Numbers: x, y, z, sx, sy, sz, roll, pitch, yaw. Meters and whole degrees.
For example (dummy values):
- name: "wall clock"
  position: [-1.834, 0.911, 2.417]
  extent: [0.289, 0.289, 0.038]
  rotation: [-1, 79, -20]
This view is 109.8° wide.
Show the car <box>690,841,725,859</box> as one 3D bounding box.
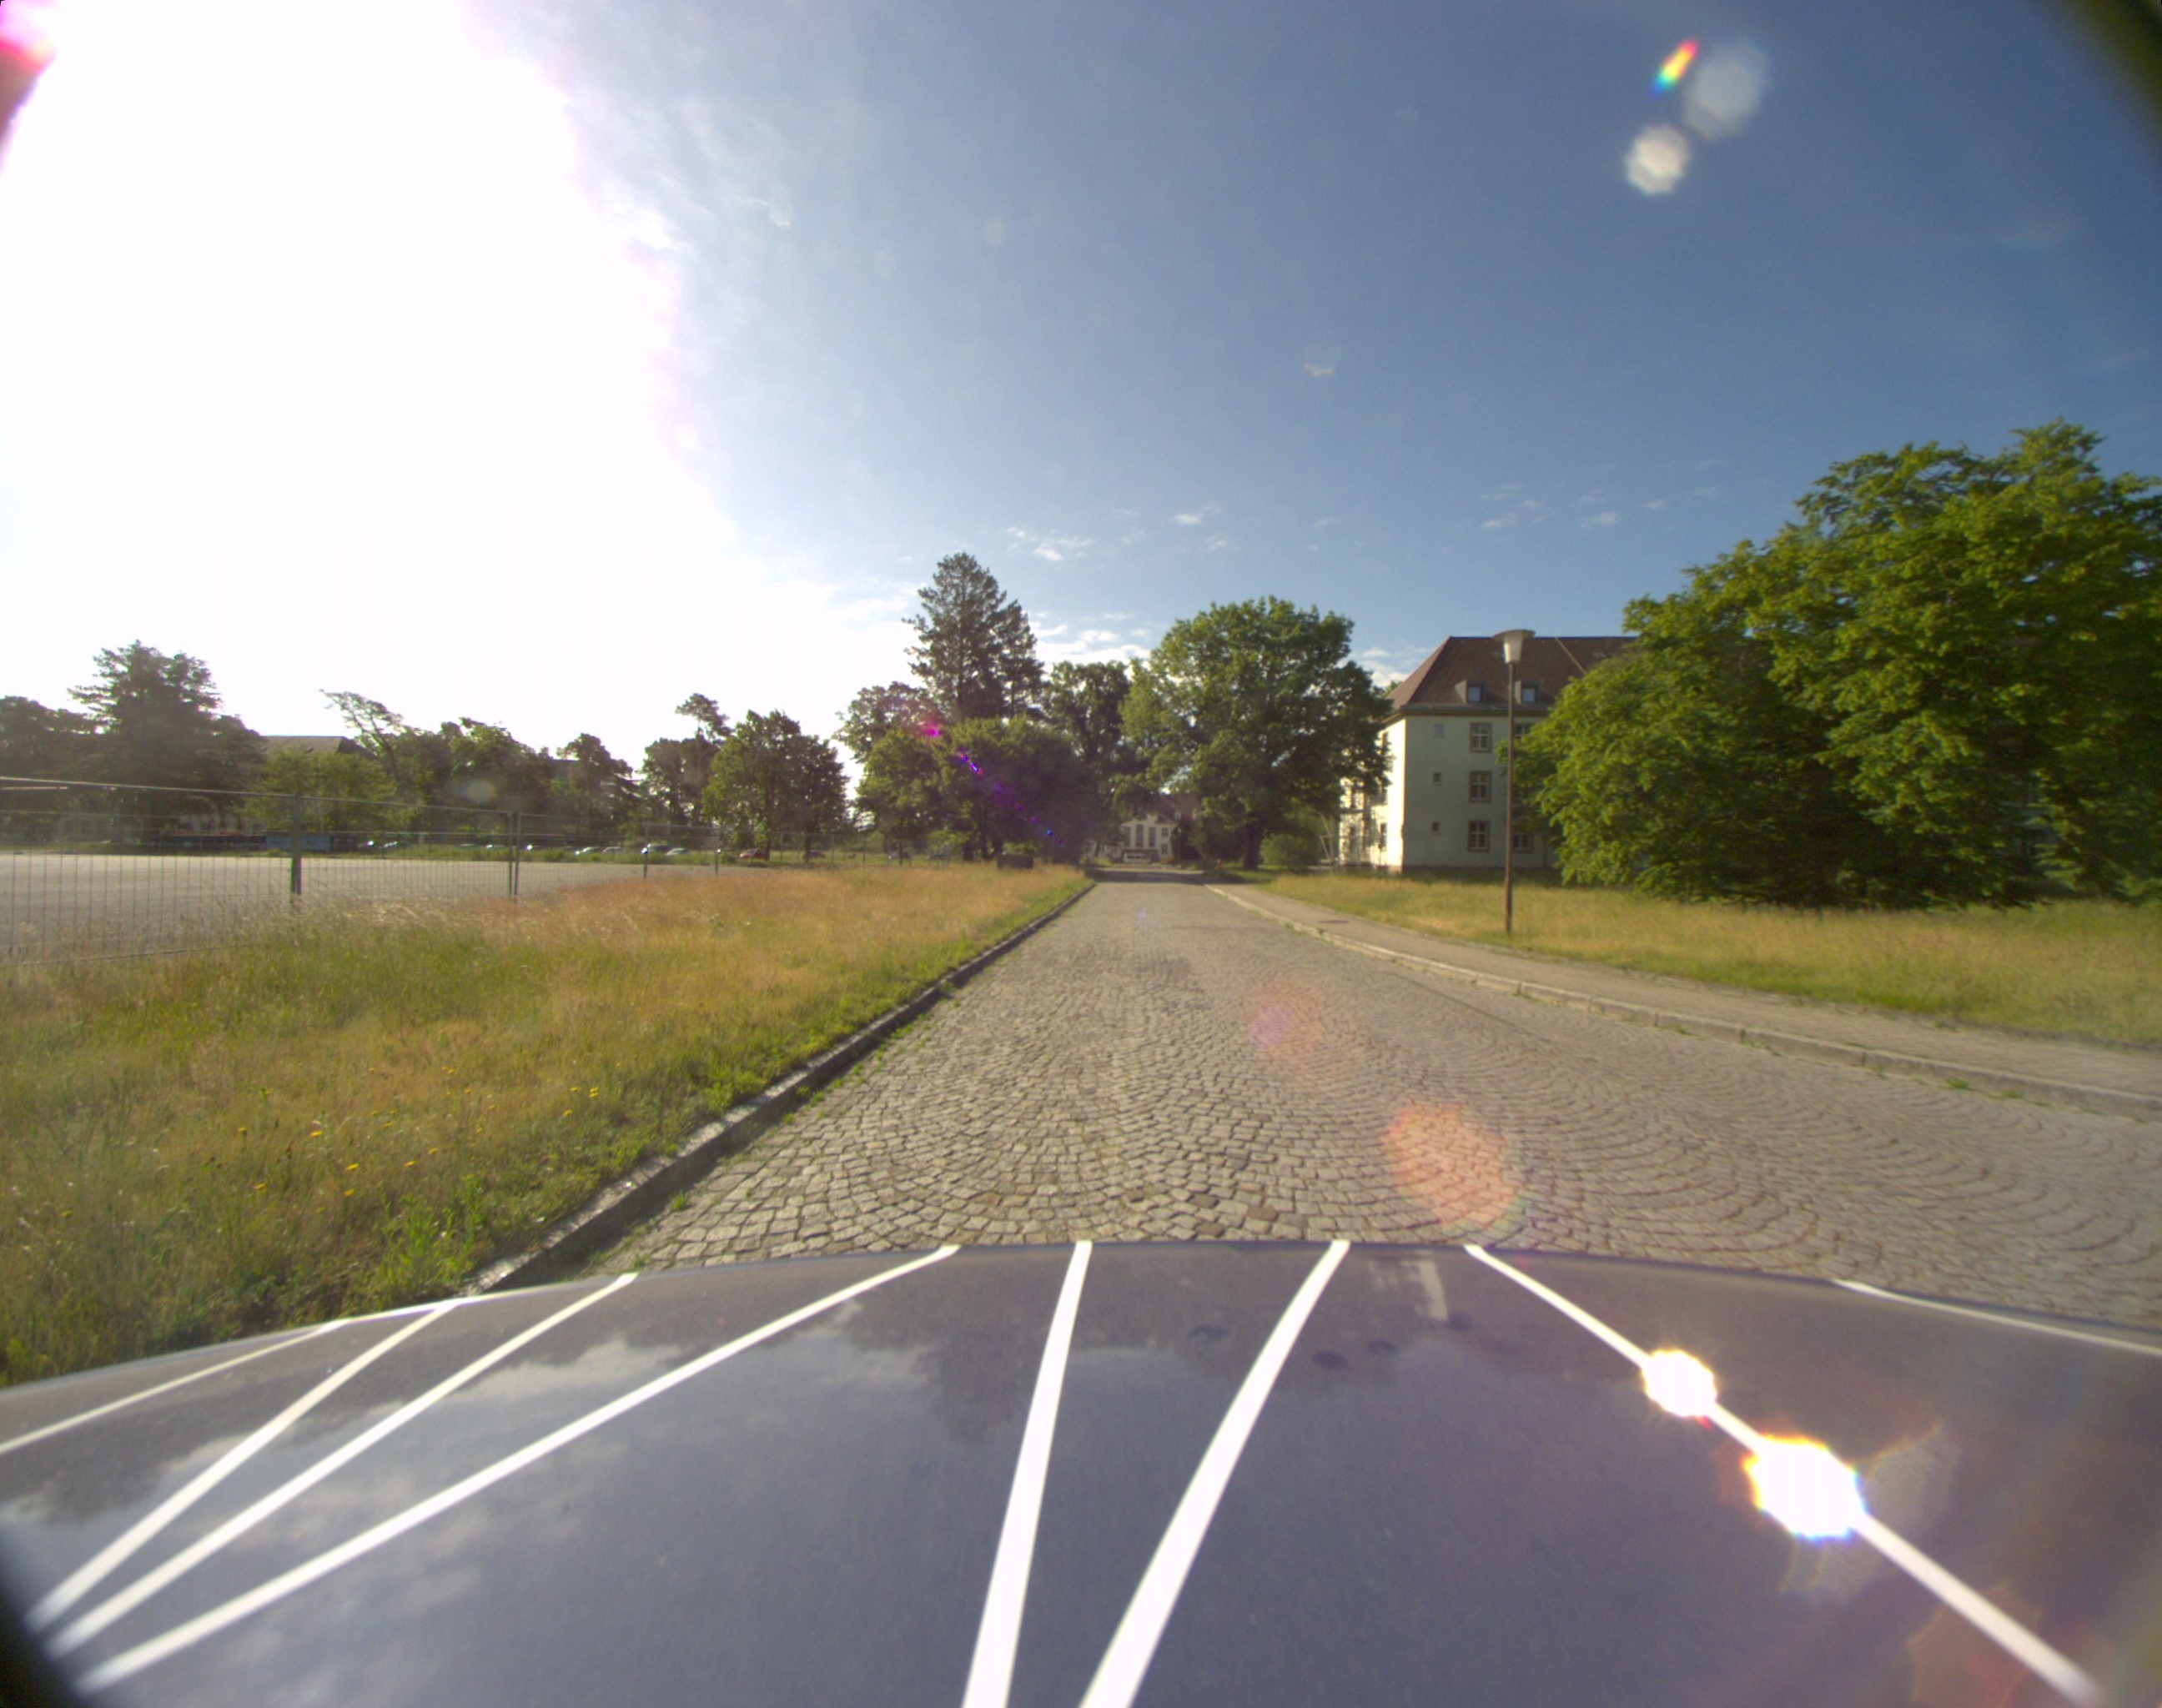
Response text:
- name: "car"
  position: [-45.206, -0.475, 92.072]
  extent: [1.998, 2.002, 4.001]
  rotation: [1, 0, 4]

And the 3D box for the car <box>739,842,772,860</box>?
- name: "car"
  position: [-38.630, -0.326, 90.330]
  extent: [1.998, 2.002, 4.000]
  rotation: [1, 0, 3]

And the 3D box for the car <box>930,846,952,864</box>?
- name: "car"
  position: [-16.236, 0.104, 88.223]
  extent: [1.999, 2.002, 3.999]
  rotation: [1, 0, -2]

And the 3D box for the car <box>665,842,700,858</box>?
- name: "car"
  position: [-47.686, -0.473, 91.098]
  extent: [1.998, 1.936, 4.000]
  rotation: [1, 0, 2]

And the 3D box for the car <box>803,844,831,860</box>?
- name: "car"
  position: [-31.188, -0.235, 89.736]
  extent: [1.999, 1.805, 3.999]
  rotation: [1, 0, -2]

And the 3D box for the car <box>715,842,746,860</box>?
- name: "car"
  position: [-41.599, -0.361, 90.216]
  extent: [1.999, 2.002, 3.998]
  rotation: [1, 0, -4]

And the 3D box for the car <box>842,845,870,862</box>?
- name: "car"
  position: [-26.533, -0.062, 89.801]
  extent: [1.998, 2.002, 4.000]
  rotation: [1, 0, 2]

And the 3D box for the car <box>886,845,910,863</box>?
- name: "car"
  position: [-21.383, -0.019, 88.811]
  extent: [1.999, 2.002, 3.999]
  rotation: [1, 0, -2]

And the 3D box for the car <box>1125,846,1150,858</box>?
- name: "car"
  position: [11.098, -0.404, 148.927]
  extent: [4.868, 2.083, 2.000]
  rotation: [1, 1, 4]

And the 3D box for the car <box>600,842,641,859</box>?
- name: "car"
  position: [-55.467, -0.453, 91.548]
  extent: [1.997, 2.002, 4.003]
  rotation: [-2, 1, 11]
